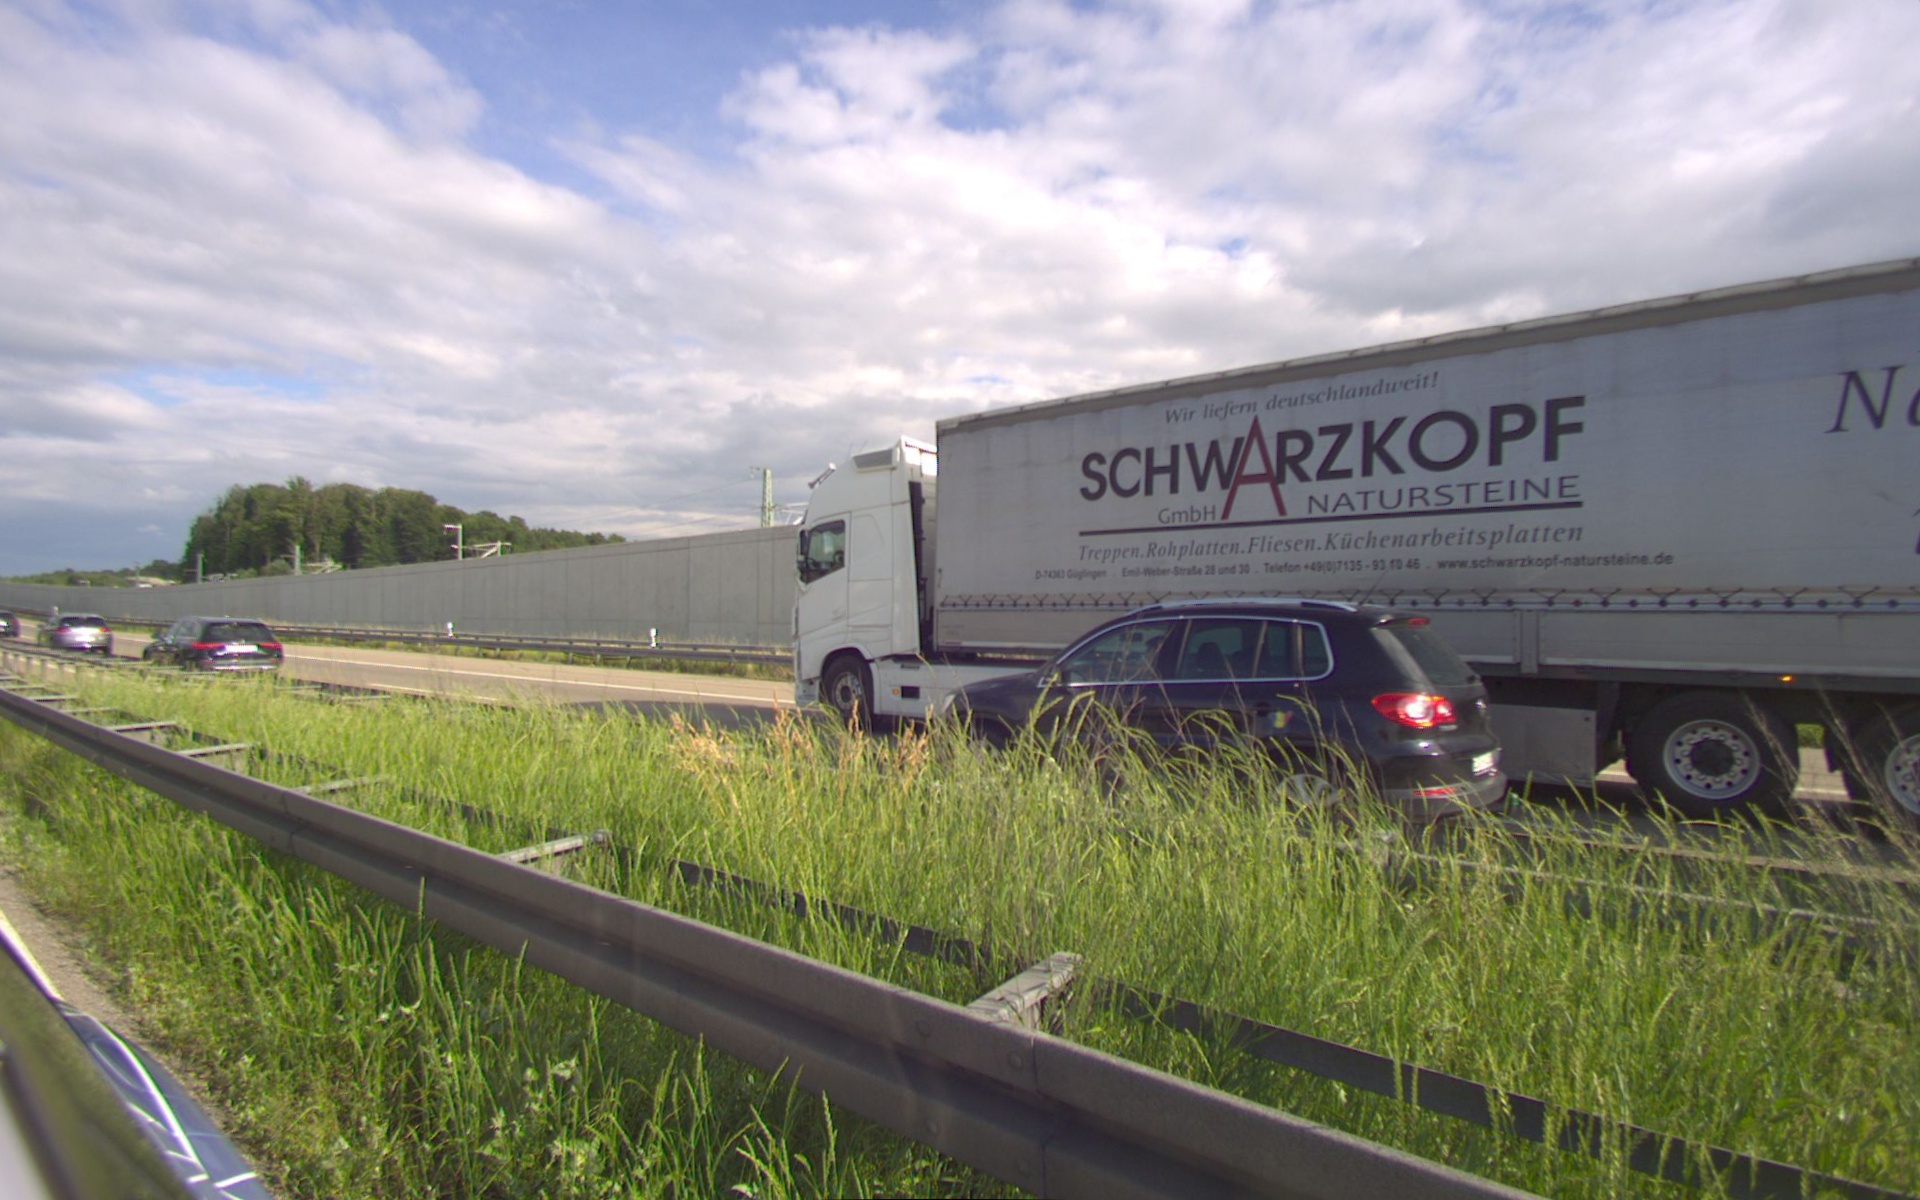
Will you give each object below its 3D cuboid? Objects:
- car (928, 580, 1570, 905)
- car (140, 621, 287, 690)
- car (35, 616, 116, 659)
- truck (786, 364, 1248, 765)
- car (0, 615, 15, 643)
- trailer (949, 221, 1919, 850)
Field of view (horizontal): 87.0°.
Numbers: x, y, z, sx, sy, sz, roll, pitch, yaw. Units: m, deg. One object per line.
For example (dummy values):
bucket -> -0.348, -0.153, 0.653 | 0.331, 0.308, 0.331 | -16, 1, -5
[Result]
car -> 1.879, 0.778, 7.352 | 4.170, 1.719, 1.691 | -1, -1, 40
car -> -16.636, 1.164, 22.484 | 4.229, 1.368, 1.724 | -1, -1, 41
car -> -32.573, 1.341, 37.241 | 3.827, 1.490, 1.751 | -1, -1, 41
truck -> 0.527, -0.329, 13.457 | 5.928, 4.213, 2.356 | -1, -2, 40
car -> -52.847, 1.555, 55.003 | 4.423, 1.510, 1.680 | -1, -1, 40
trailer -> 5.610, -0.399, 9.038 | 13.196, 4.214, 2.364 | -1, -2, 41
